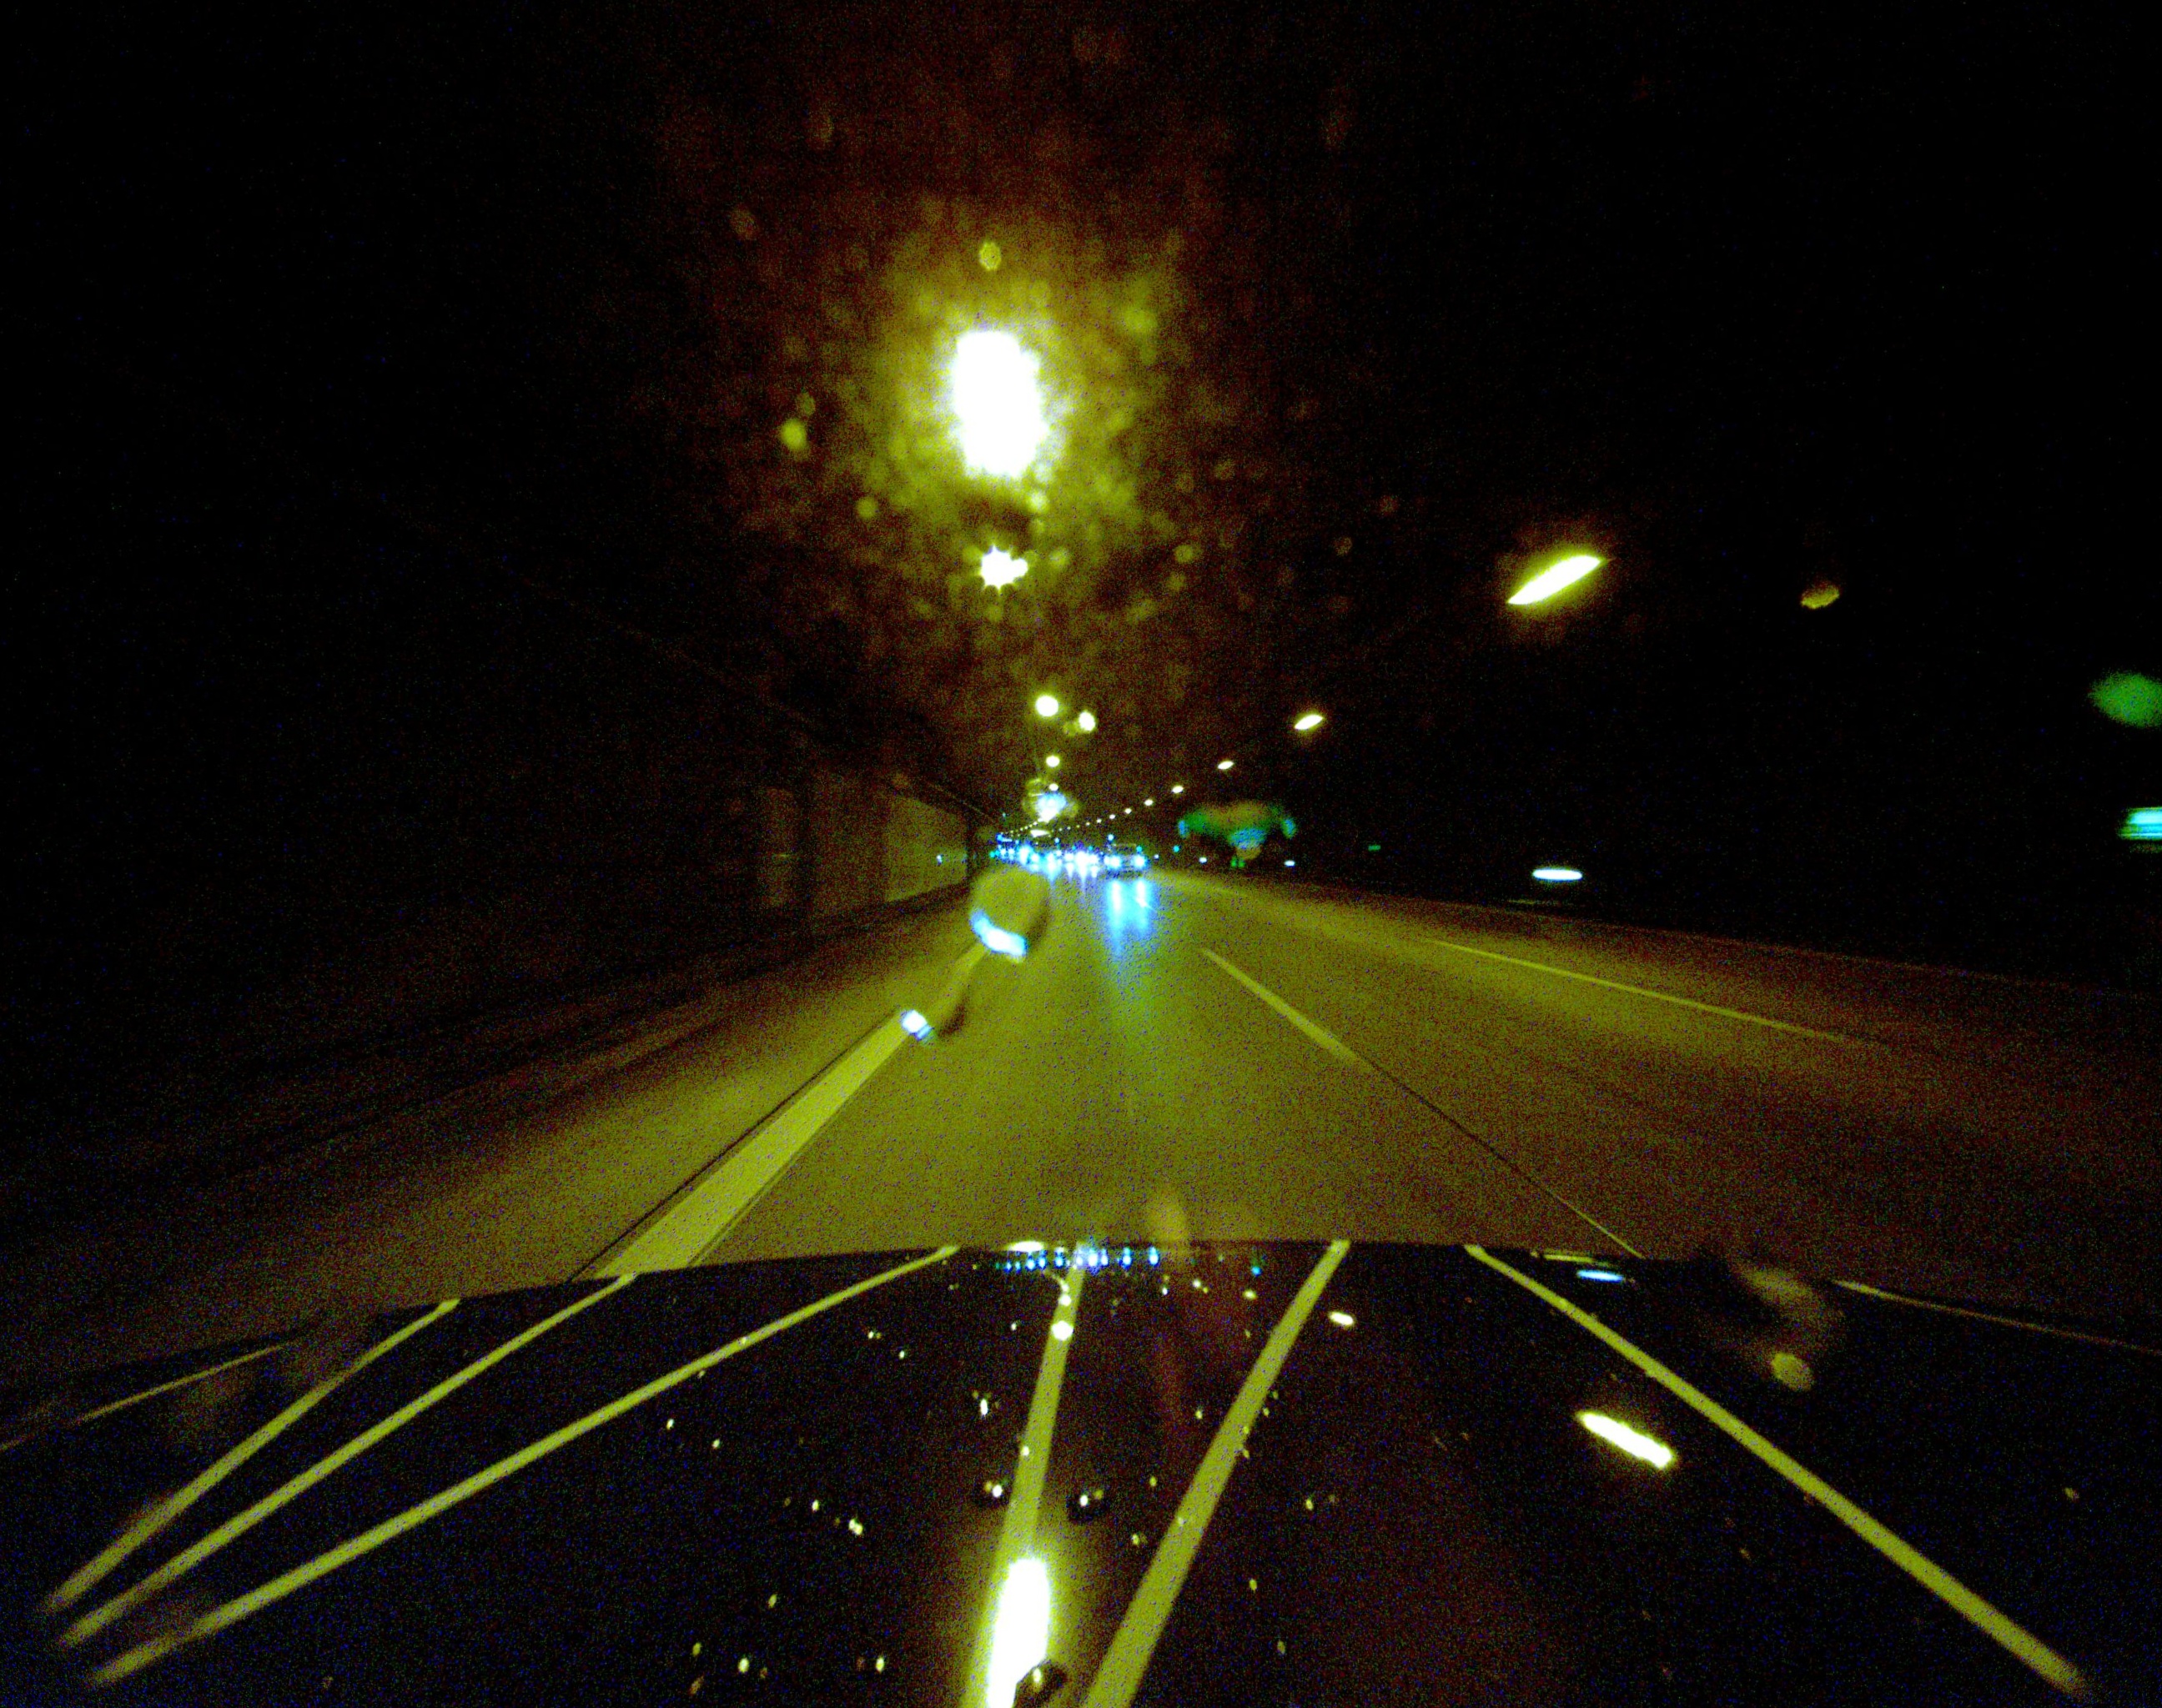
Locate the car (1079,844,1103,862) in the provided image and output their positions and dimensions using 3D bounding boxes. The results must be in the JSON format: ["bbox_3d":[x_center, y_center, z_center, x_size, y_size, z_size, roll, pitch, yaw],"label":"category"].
[{"bbox_3d":[0.978,-0.096,76.665,1.911,1.638,3.998,-2,0,-5],"label":"car"}]

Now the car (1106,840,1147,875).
[{"bbox_3d":[2.785,0.237,47.732,1.999,2.001,4.359,-2,-1,-4],"label":"car"}]

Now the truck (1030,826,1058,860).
[{"bbox_3d":[-4.787,-1.480,97.407,3.143,4.137,7.383,-2,2,-4],"label":"truck"}]

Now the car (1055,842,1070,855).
[{"bbox_3d":[-2.985,-0.842,121.425,1.999,2.002,3.998,-2,1,-5],"label":"car"}]

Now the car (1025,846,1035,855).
[{"bbox_3d":[-11.298,-0.783,167.938,1.999,1.729,3.997,-2,1,-5],"label":"car"}]

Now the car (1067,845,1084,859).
[{"bbox_3d":[-0.710,-0.221,93.147,1.759,1.567,3.998,-2,0,-5],"label":"car"}]
